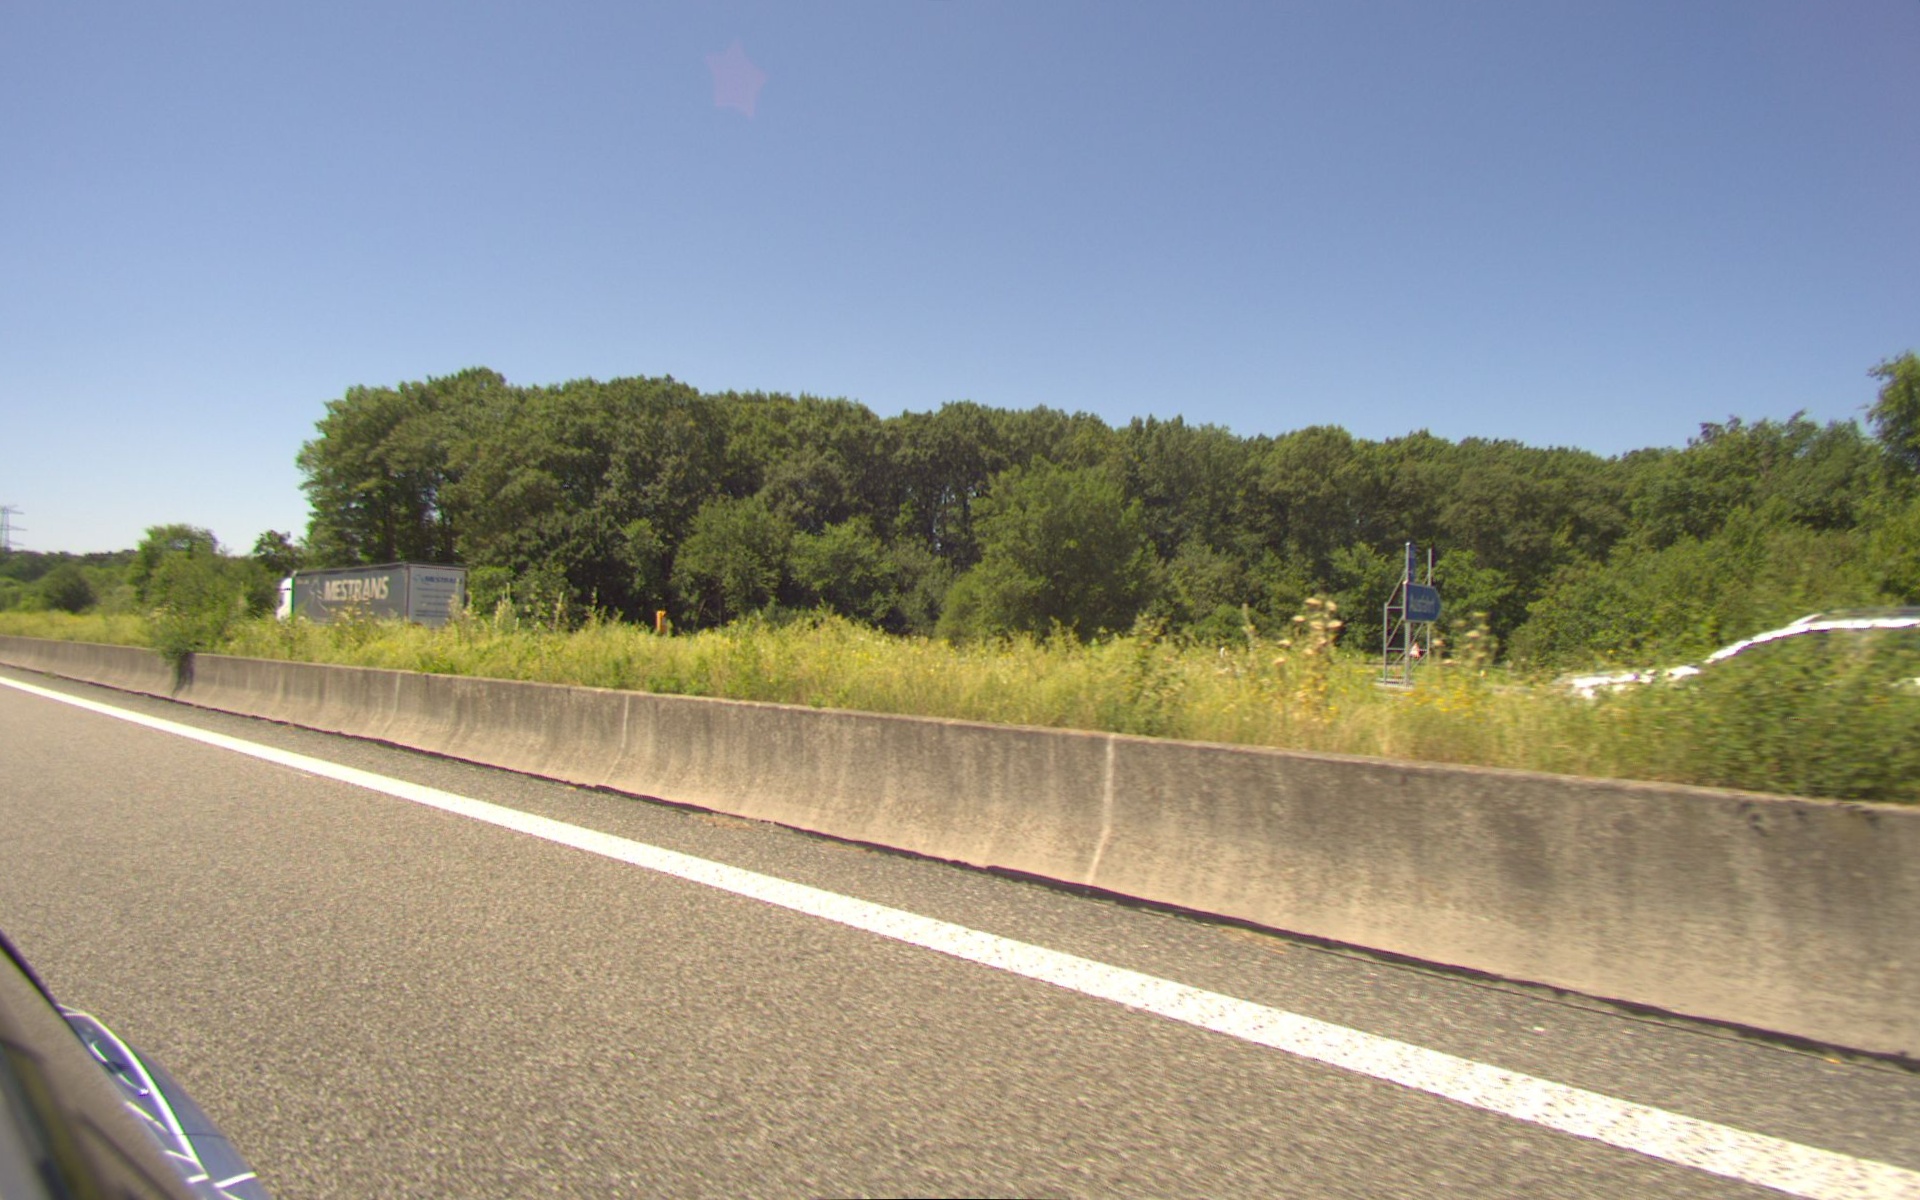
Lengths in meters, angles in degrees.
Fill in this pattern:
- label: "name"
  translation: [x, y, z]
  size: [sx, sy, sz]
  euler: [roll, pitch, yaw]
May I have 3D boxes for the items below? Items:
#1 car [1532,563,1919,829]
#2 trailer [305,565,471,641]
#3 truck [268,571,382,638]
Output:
- label: "car"
  translation: [7.709, 0.742, 8.709]
  size: [4.542, 2.029, 1.973]
  euler: [-1, -1, 41]
- label: "trailer"
  translation: [-26.832, 0.160, 47.129]
  size: [11.113, 3.210, 2.939]
  euler: [-1, 0, 39]
- label: "truck"
  translation: [-32.661, 0.236, 51.941]
  size: [7.287, 3.210, 2.774]
  euler: [-1, 0, 39]
